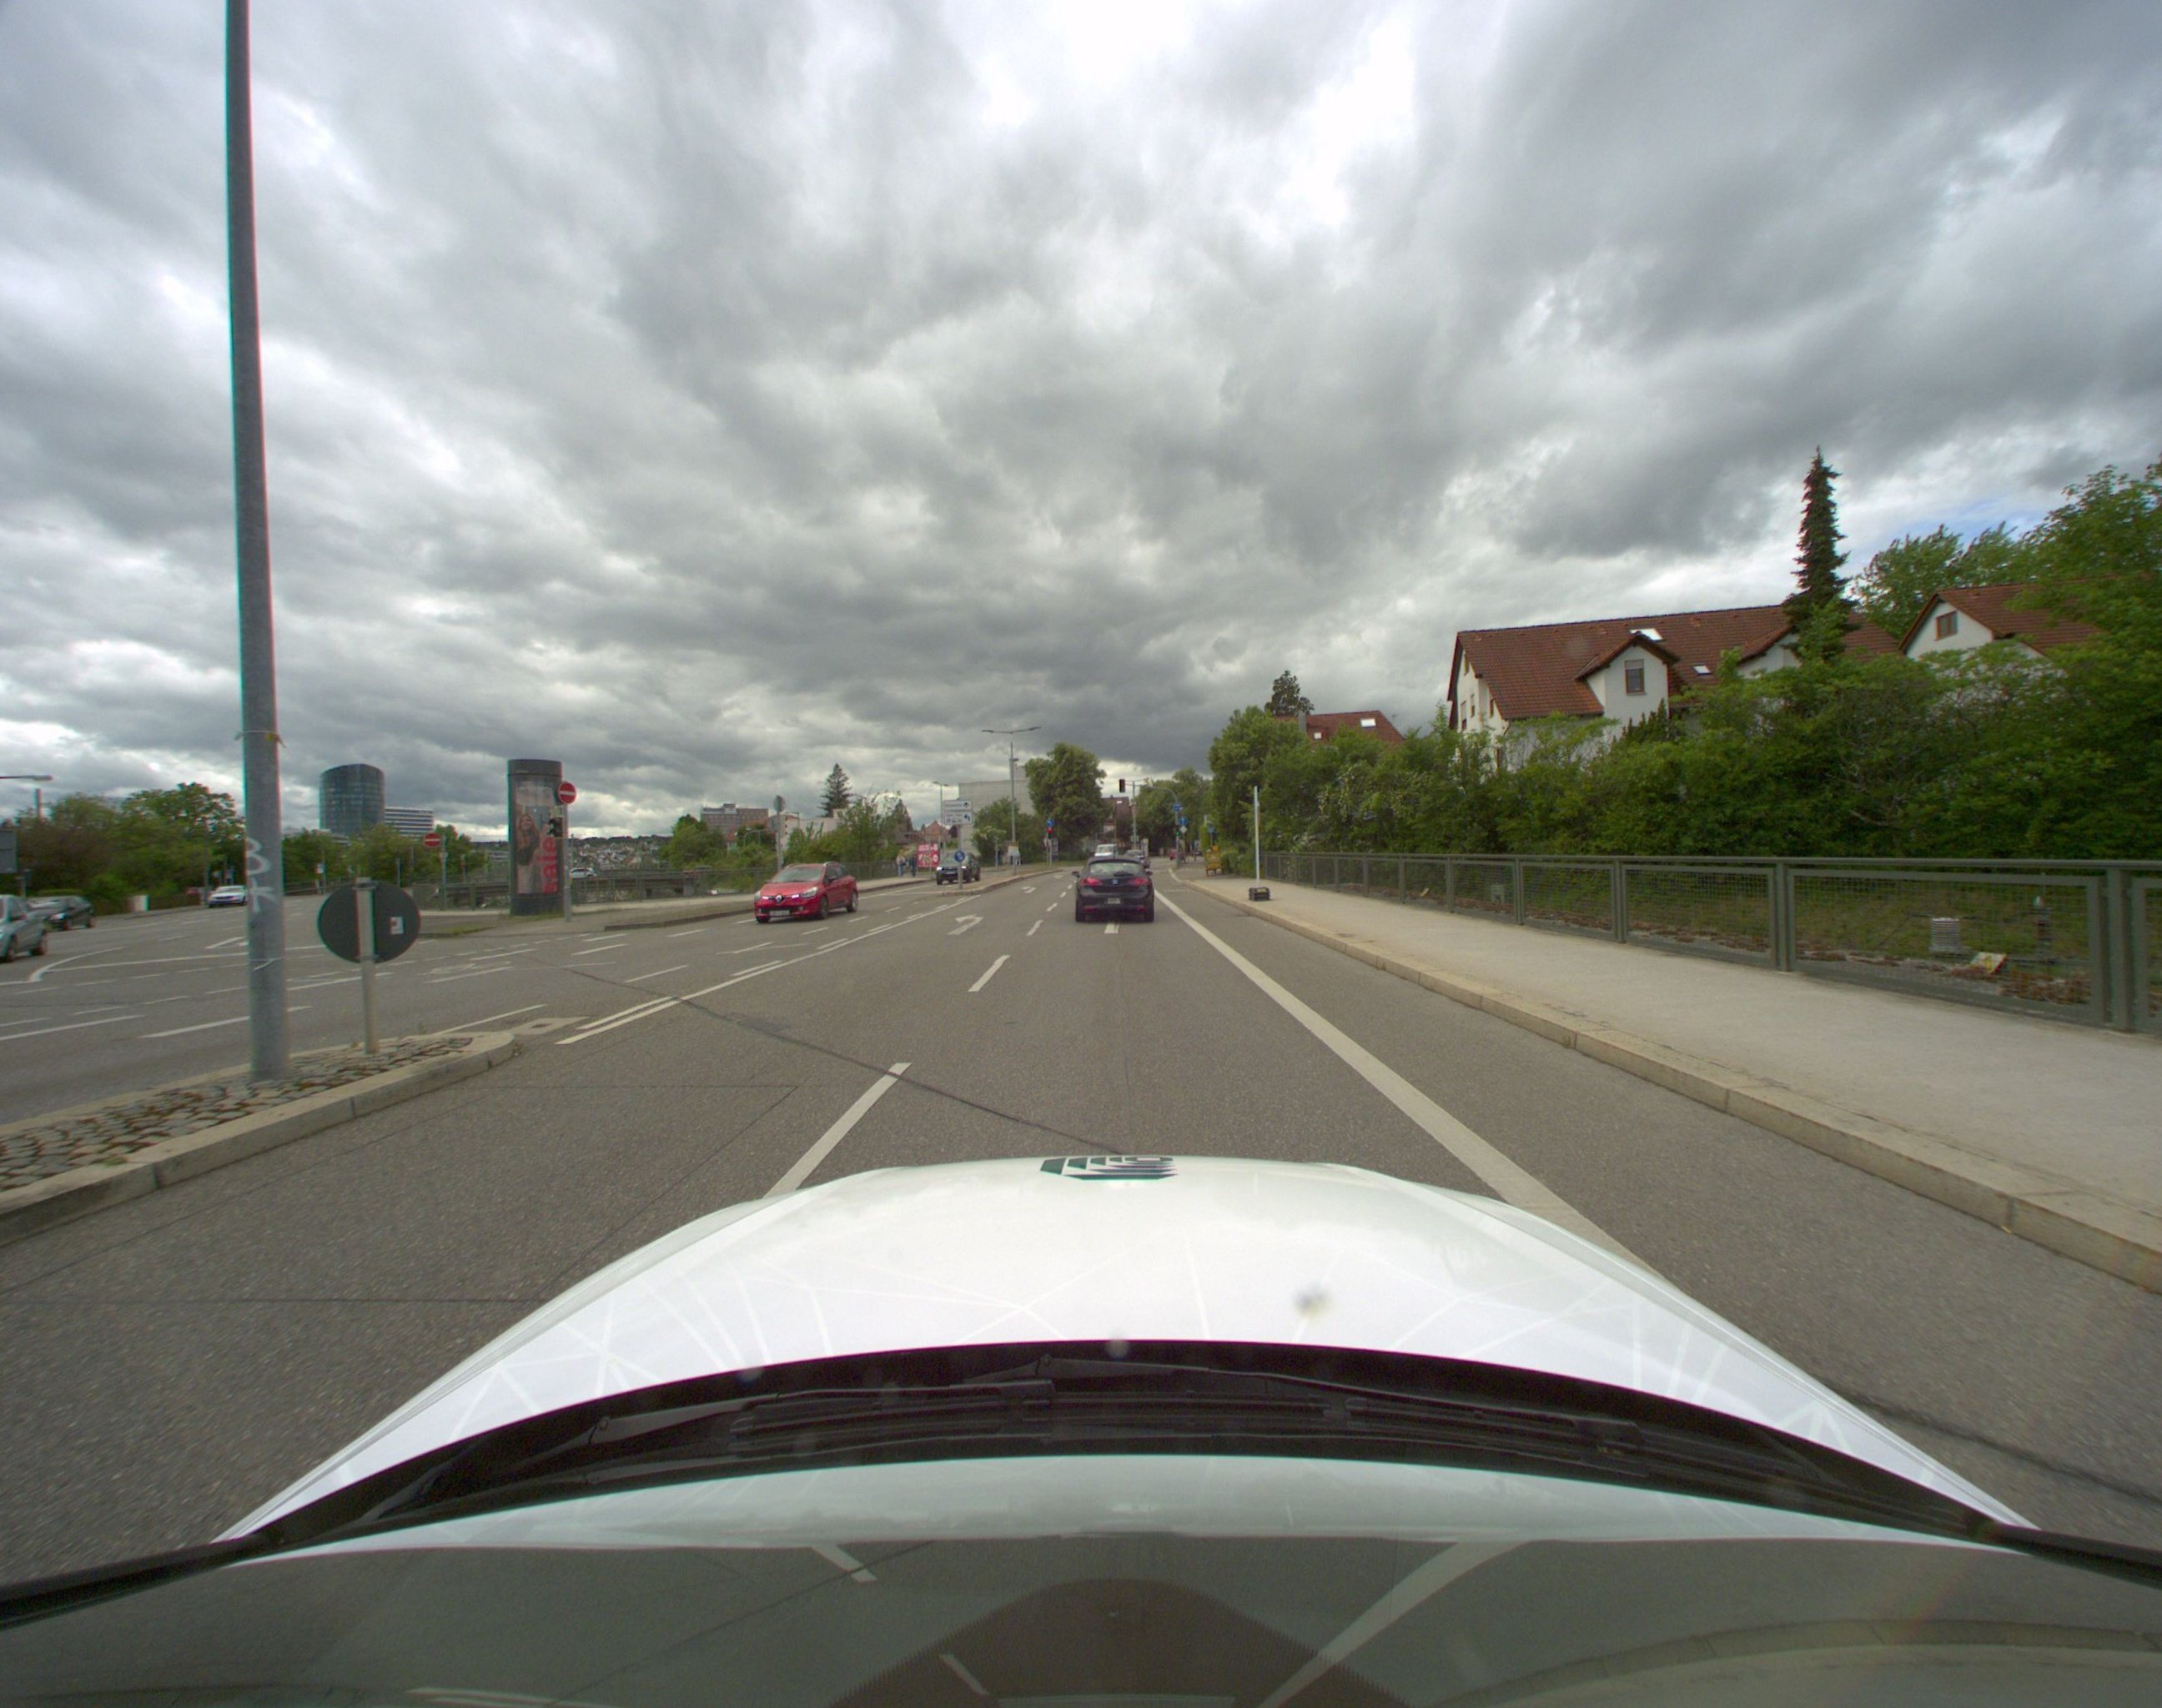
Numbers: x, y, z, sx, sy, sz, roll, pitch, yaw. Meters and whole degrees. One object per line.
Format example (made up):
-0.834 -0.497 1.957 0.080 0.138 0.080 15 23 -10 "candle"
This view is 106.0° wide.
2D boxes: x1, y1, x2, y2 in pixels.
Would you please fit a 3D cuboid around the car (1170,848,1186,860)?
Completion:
12.805 -0.040 107.840 1.932 1.481 4.259 -3 0 5 "car"

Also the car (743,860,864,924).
-7.362 0.945 22.064 1.714 1.448 4.068 -3 0 1 "car"

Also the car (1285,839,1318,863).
14.638 -0.207 54.158 1.657 1.449 4.011 -3 0 10 "car"

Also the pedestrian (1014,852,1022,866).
-7.051 0.530 91.661 0.651 1.522 0.926 -2 0 10 "pedestrian"

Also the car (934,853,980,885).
-6.771 0.770 44.916 1.817 1.626 4.278 -2 0 0 "car"

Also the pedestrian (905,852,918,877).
-11.369 0.678 54.635 0.655 1.633 1.069 -1 0 -4 "pedestrian"

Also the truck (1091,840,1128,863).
3.185 -0.319 88.743 2.109 2.264 6.837 -3 0 18 "truck"

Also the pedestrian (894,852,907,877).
-12.077 0.705 54.507 0.655 1.633 0.832 -1 0 -4 "pedestrian"

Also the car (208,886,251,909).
-67.760 3.414 64.872 1.910 1.607 4.324 -2 0 -41 "car"

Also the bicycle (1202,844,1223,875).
6.801 0.258 42.153 0.886 1.510 2.789 -4 0 7 "bicycle"

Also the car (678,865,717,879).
-48.053 2.260 102.018 3.984 1.662 1.794 1 0 -8 "car"

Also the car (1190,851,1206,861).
20.127 0.373 140.129 1.977 1.684 4.019 -2 0 18 "car"

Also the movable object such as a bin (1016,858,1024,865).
-6.924 0.885 92.344 0.651 0.798 0.900 -2 0 10 "movable object such as a bin"

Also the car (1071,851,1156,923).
0.839 0.686 18.922 1.751 1.448 3.720 0 1 5 "car"

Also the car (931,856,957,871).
-19.694 1.341 117.237 1.976 2.013 4.021 1 0 21 "car"

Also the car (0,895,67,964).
-26.067 1.831 19.373 1.656 1.535 4.080 -4 0 -41 "car"

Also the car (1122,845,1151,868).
4.472 0.158 65.128 1.808 1.699 4.264 -3 0 9 "car"
